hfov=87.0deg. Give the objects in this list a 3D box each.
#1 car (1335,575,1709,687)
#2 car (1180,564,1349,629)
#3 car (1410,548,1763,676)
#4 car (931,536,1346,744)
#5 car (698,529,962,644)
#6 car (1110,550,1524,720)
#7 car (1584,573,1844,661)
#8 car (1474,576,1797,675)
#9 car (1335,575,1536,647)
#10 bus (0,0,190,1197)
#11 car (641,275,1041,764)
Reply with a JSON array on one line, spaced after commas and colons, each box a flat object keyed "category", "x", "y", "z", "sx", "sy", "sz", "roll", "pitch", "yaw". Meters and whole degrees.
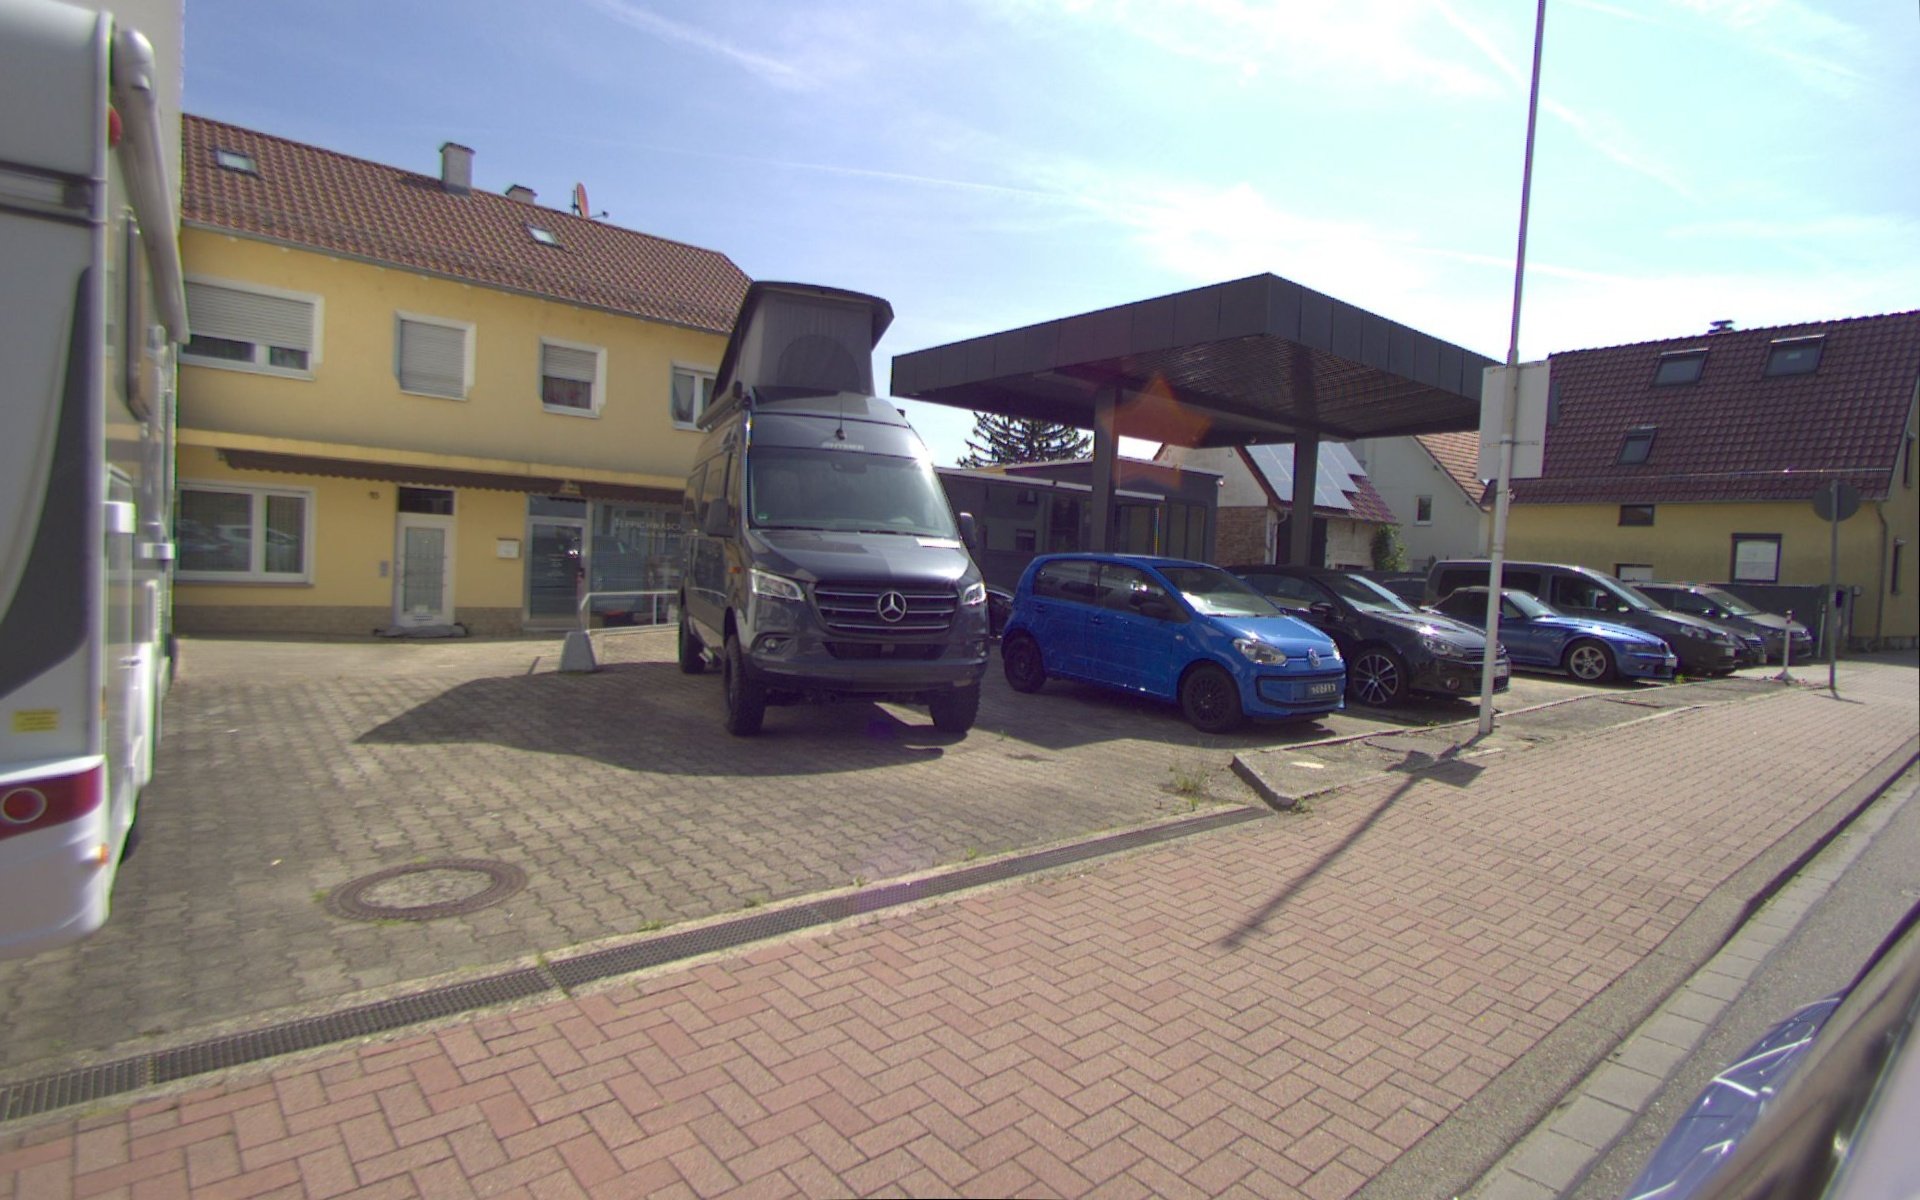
[{"category": "car", "x": 8.307, "y": 0.360, "z": 15.365, "sx": 1.929, "sy": 1.283, "sz": 4.553, "roll": 1, "pitch": 3, "yaw": -37}, {"category": "car", "x": 7.361, "y": -0.107, "z": 24.223, "sx": 4.669, "sy": 1.363, "sz": 1.761, "roll": 0, "pitch": 3, "yaw": -43}, {"category": "car", "x": 10.365, "y": 0.071, "z": 17.105, "sx": 1.929, "sy": 1.832, "sz": 4.650, "roll": 0, "pitch": 3, "yaw": -37}, {"category": "car", "x": 1.486, "y": 0.213, "z": 9.663, "sx": 1.553, "sy": 1.547, "sz": 3.811, "roll": 1, "pitch": 3, "yaw": -38}, {"category": "car", "x": -1.902, "y": -0.203, "z": 15.584, "sx": 3.797, "sy": 1.544, "sz": 1.727, "roll": 2, "pitch": 0, "yaw": 0}, {"category": "car", "x": 3.825, "y": 0.246, "z": 11.523, "sx": 1.695, "sy": 1.499, "sz": 4.174, "roll": 1, "pitch": 3, "yaw": -37}, {"category": "car", "x": 16.824, "y": 0.363, "z": 22.814, "sx": 1.704, "sy": 1.767, "sz": 4.343, "roll": -1, "pitch": 0, "yaw": -33}, {"category": "car", "x": 12.452, "y": 0.382, "z": 18.957, "sx": 1.875, "sy": 1.516, "sz": 4.650, "roll": 1, "pitch": 2, "yaw": -37}, {"category": "car", "x": 12.616, "y": 0.228, "z": 27.165, "sx": 1.947, "sy": 1.526, "sz": 4.563, "roll": 0, "pitch": 4, "yaw": -29}, {"category": "bus", "x": -4.589, "y": -0.432, "z": 4.166, "sx": 2.188, "sy": 2.940, "sz": 6.588, "roll": 0, "pitch": 4, "yaw": -37}, {"category": "car", "x": -1.599, "y": -0.624, "z": 9.471, "sx": 2.269, "sy": 3.023, "sz": 5.994, "roll": 1, "pitch": 2, "yaw": -20}]
